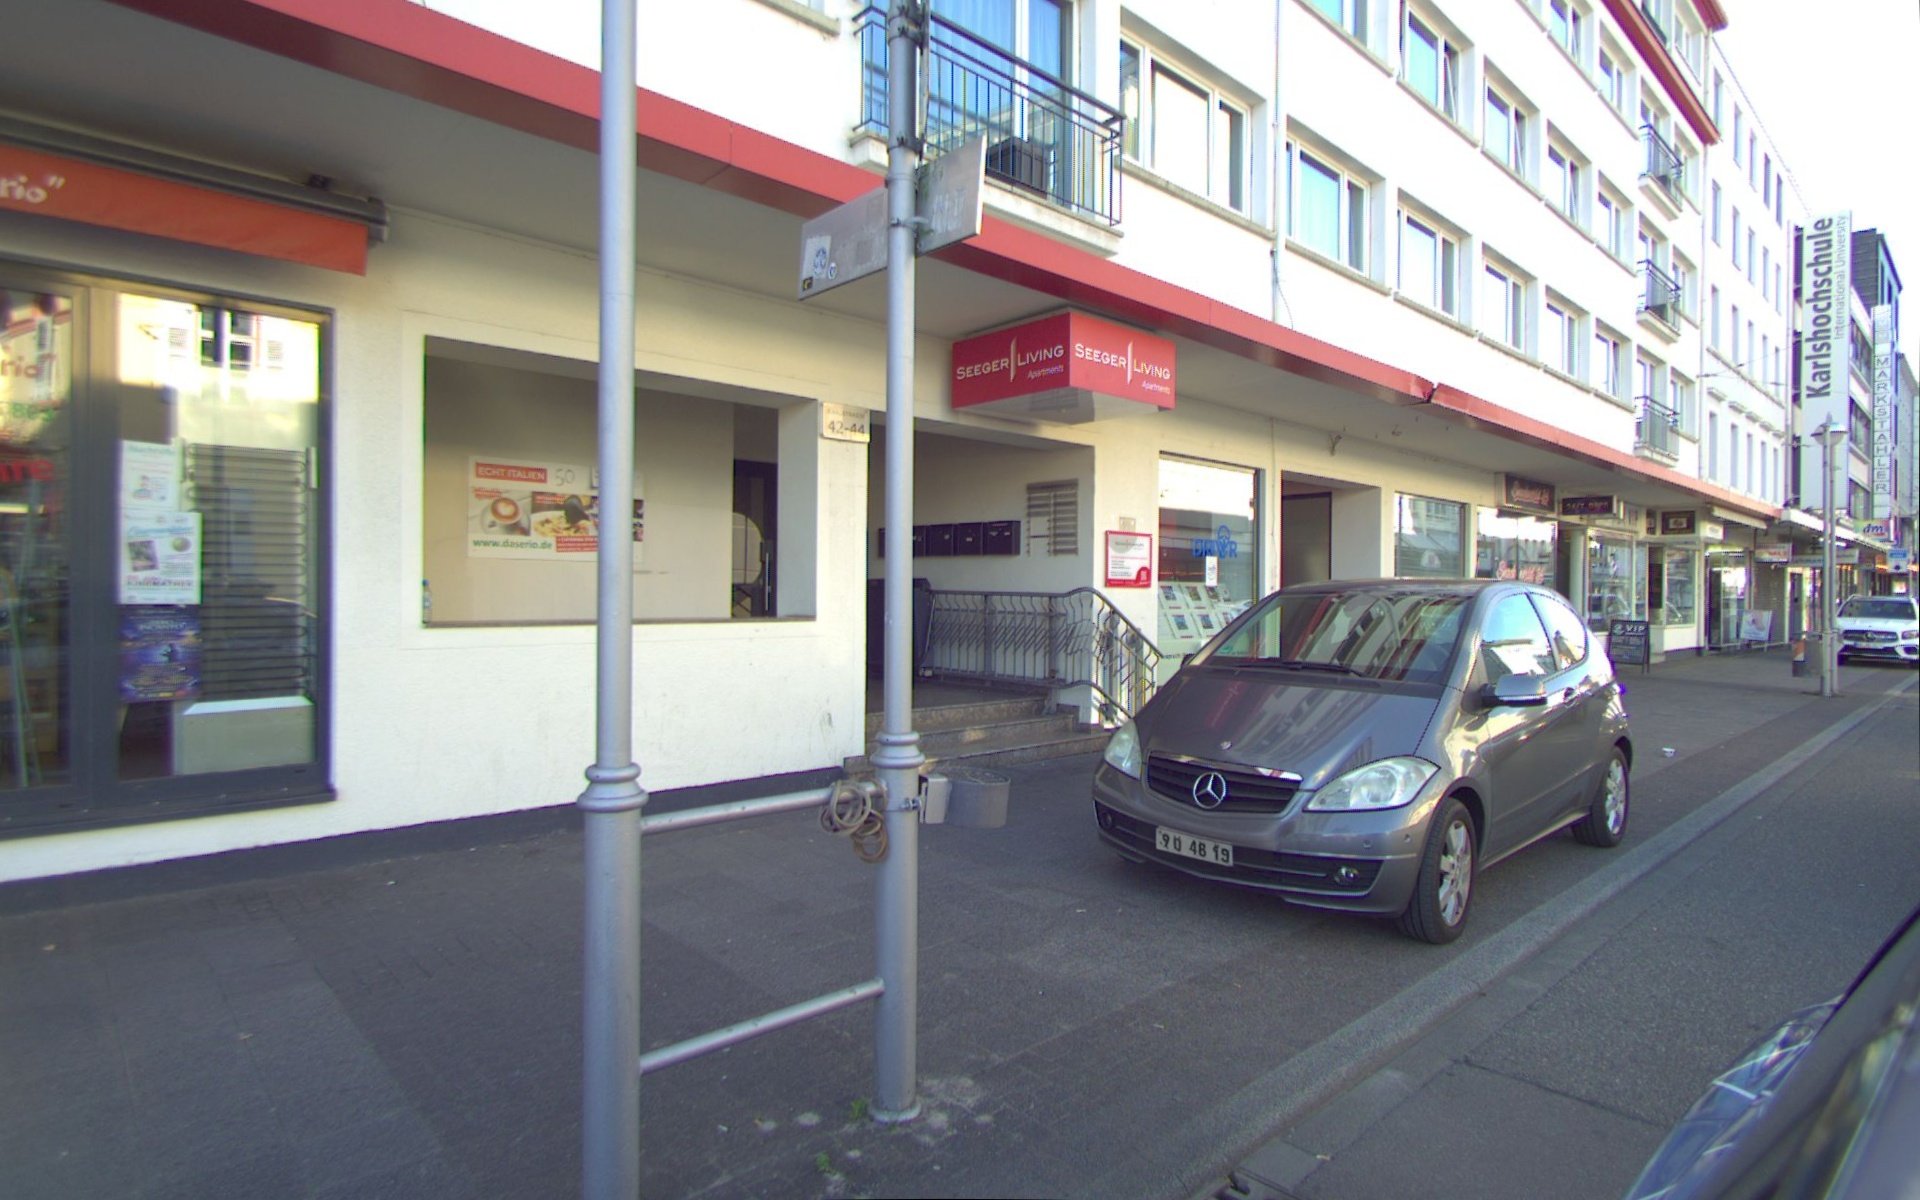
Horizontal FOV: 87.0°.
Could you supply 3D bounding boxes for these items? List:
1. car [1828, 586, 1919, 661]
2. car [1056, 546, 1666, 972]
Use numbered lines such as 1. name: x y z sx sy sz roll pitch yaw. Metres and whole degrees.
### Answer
1. car: 22.394 0.518 24.354 1.994 1.650 3.935 1 1 45
2. car: 2.472 0.586 5.692 3.932 1.565 1.681 0 0 -43
